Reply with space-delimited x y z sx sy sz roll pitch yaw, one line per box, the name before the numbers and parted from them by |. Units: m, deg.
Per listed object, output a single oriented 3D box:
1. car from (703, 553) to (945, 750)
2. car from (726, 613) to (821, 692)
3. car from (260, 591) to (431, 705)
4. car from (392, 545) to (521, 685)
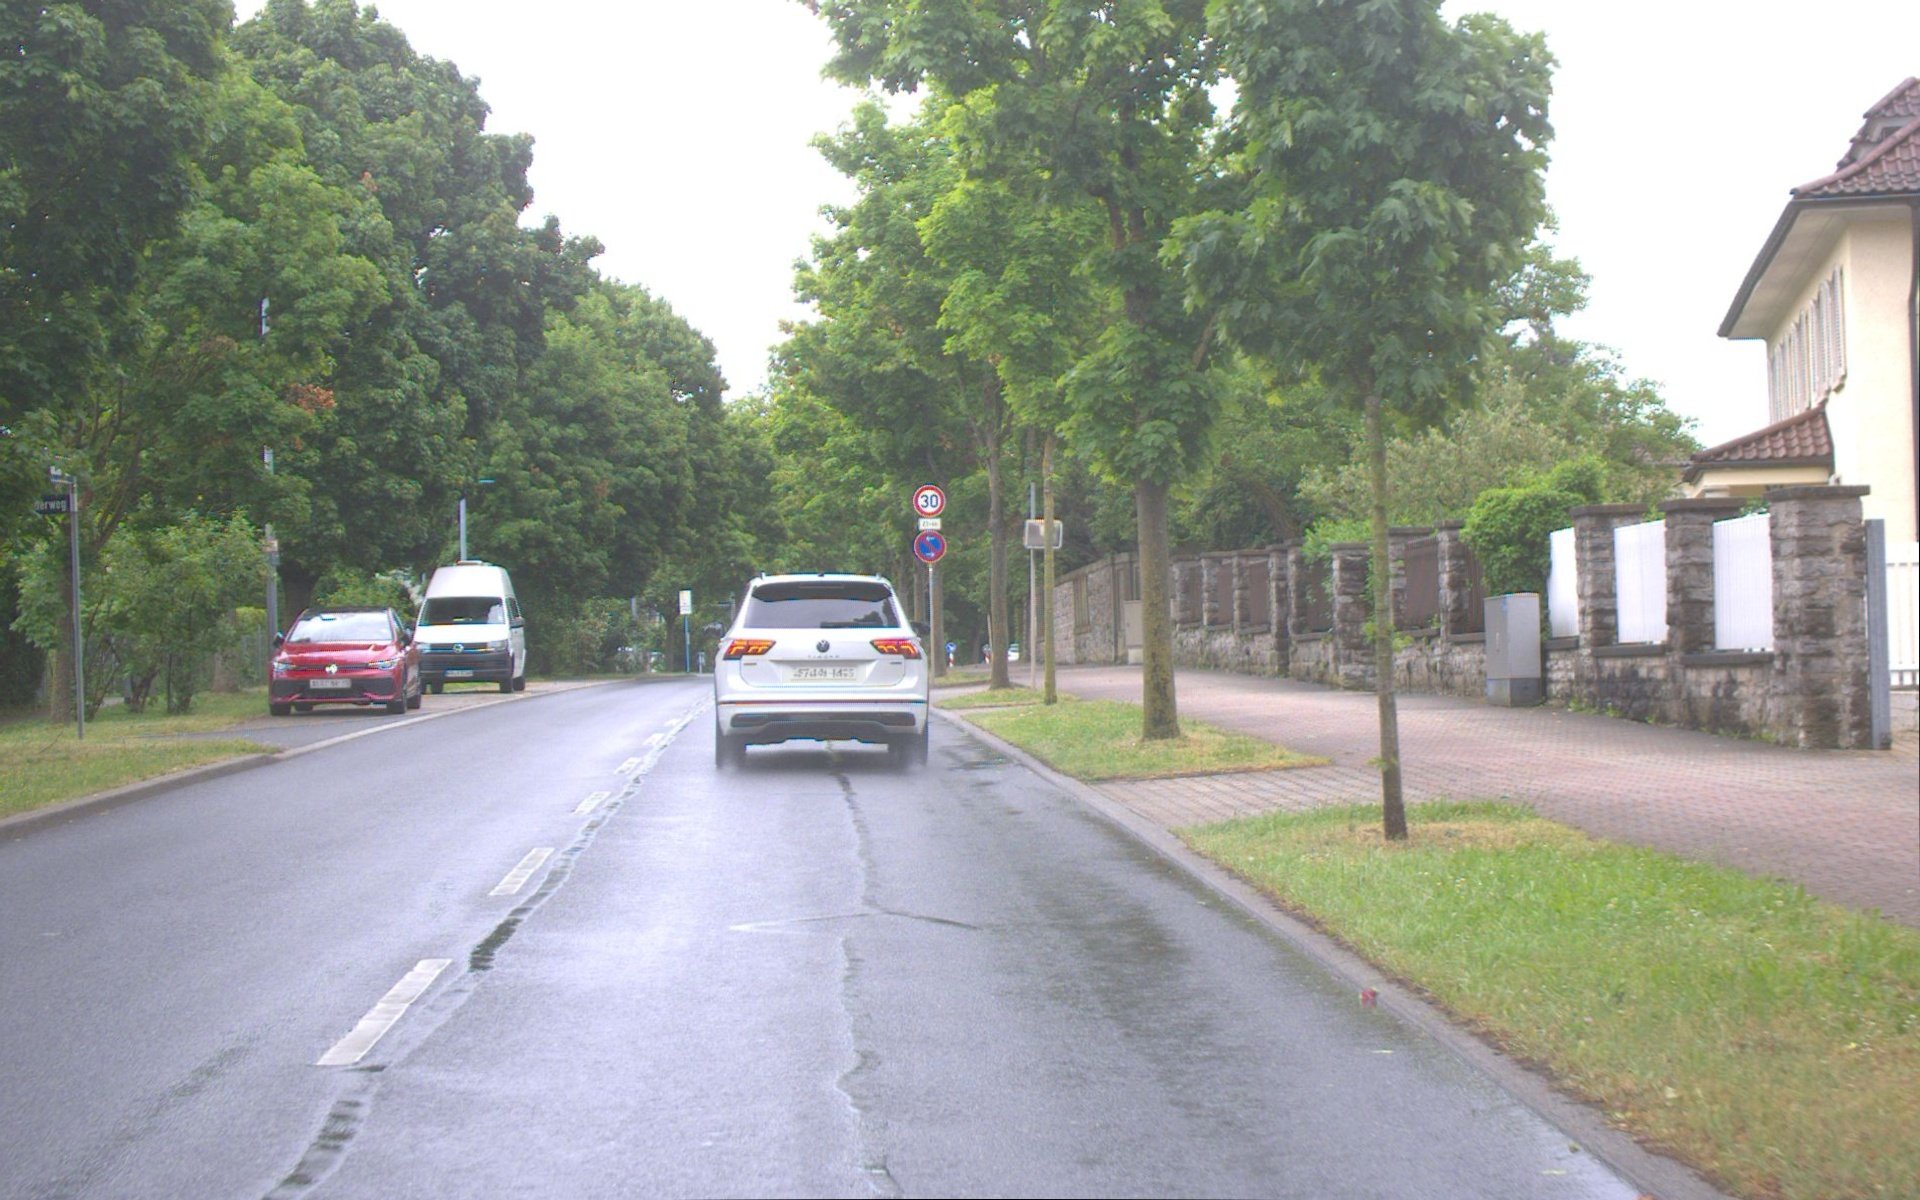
car | -1.197 0.414 30.442 1.996 1.626 4.000 0 0 -2
car | -3.818 1.064 70.968 1.840 1.482 4.001 0 1 -2
car | -8.324 0.628 46.882 1.843 1.461 4.250 -1 0 -4
car | -9.672 0.299 66.338 1.993 2.552 5.233 -1 0 -4
